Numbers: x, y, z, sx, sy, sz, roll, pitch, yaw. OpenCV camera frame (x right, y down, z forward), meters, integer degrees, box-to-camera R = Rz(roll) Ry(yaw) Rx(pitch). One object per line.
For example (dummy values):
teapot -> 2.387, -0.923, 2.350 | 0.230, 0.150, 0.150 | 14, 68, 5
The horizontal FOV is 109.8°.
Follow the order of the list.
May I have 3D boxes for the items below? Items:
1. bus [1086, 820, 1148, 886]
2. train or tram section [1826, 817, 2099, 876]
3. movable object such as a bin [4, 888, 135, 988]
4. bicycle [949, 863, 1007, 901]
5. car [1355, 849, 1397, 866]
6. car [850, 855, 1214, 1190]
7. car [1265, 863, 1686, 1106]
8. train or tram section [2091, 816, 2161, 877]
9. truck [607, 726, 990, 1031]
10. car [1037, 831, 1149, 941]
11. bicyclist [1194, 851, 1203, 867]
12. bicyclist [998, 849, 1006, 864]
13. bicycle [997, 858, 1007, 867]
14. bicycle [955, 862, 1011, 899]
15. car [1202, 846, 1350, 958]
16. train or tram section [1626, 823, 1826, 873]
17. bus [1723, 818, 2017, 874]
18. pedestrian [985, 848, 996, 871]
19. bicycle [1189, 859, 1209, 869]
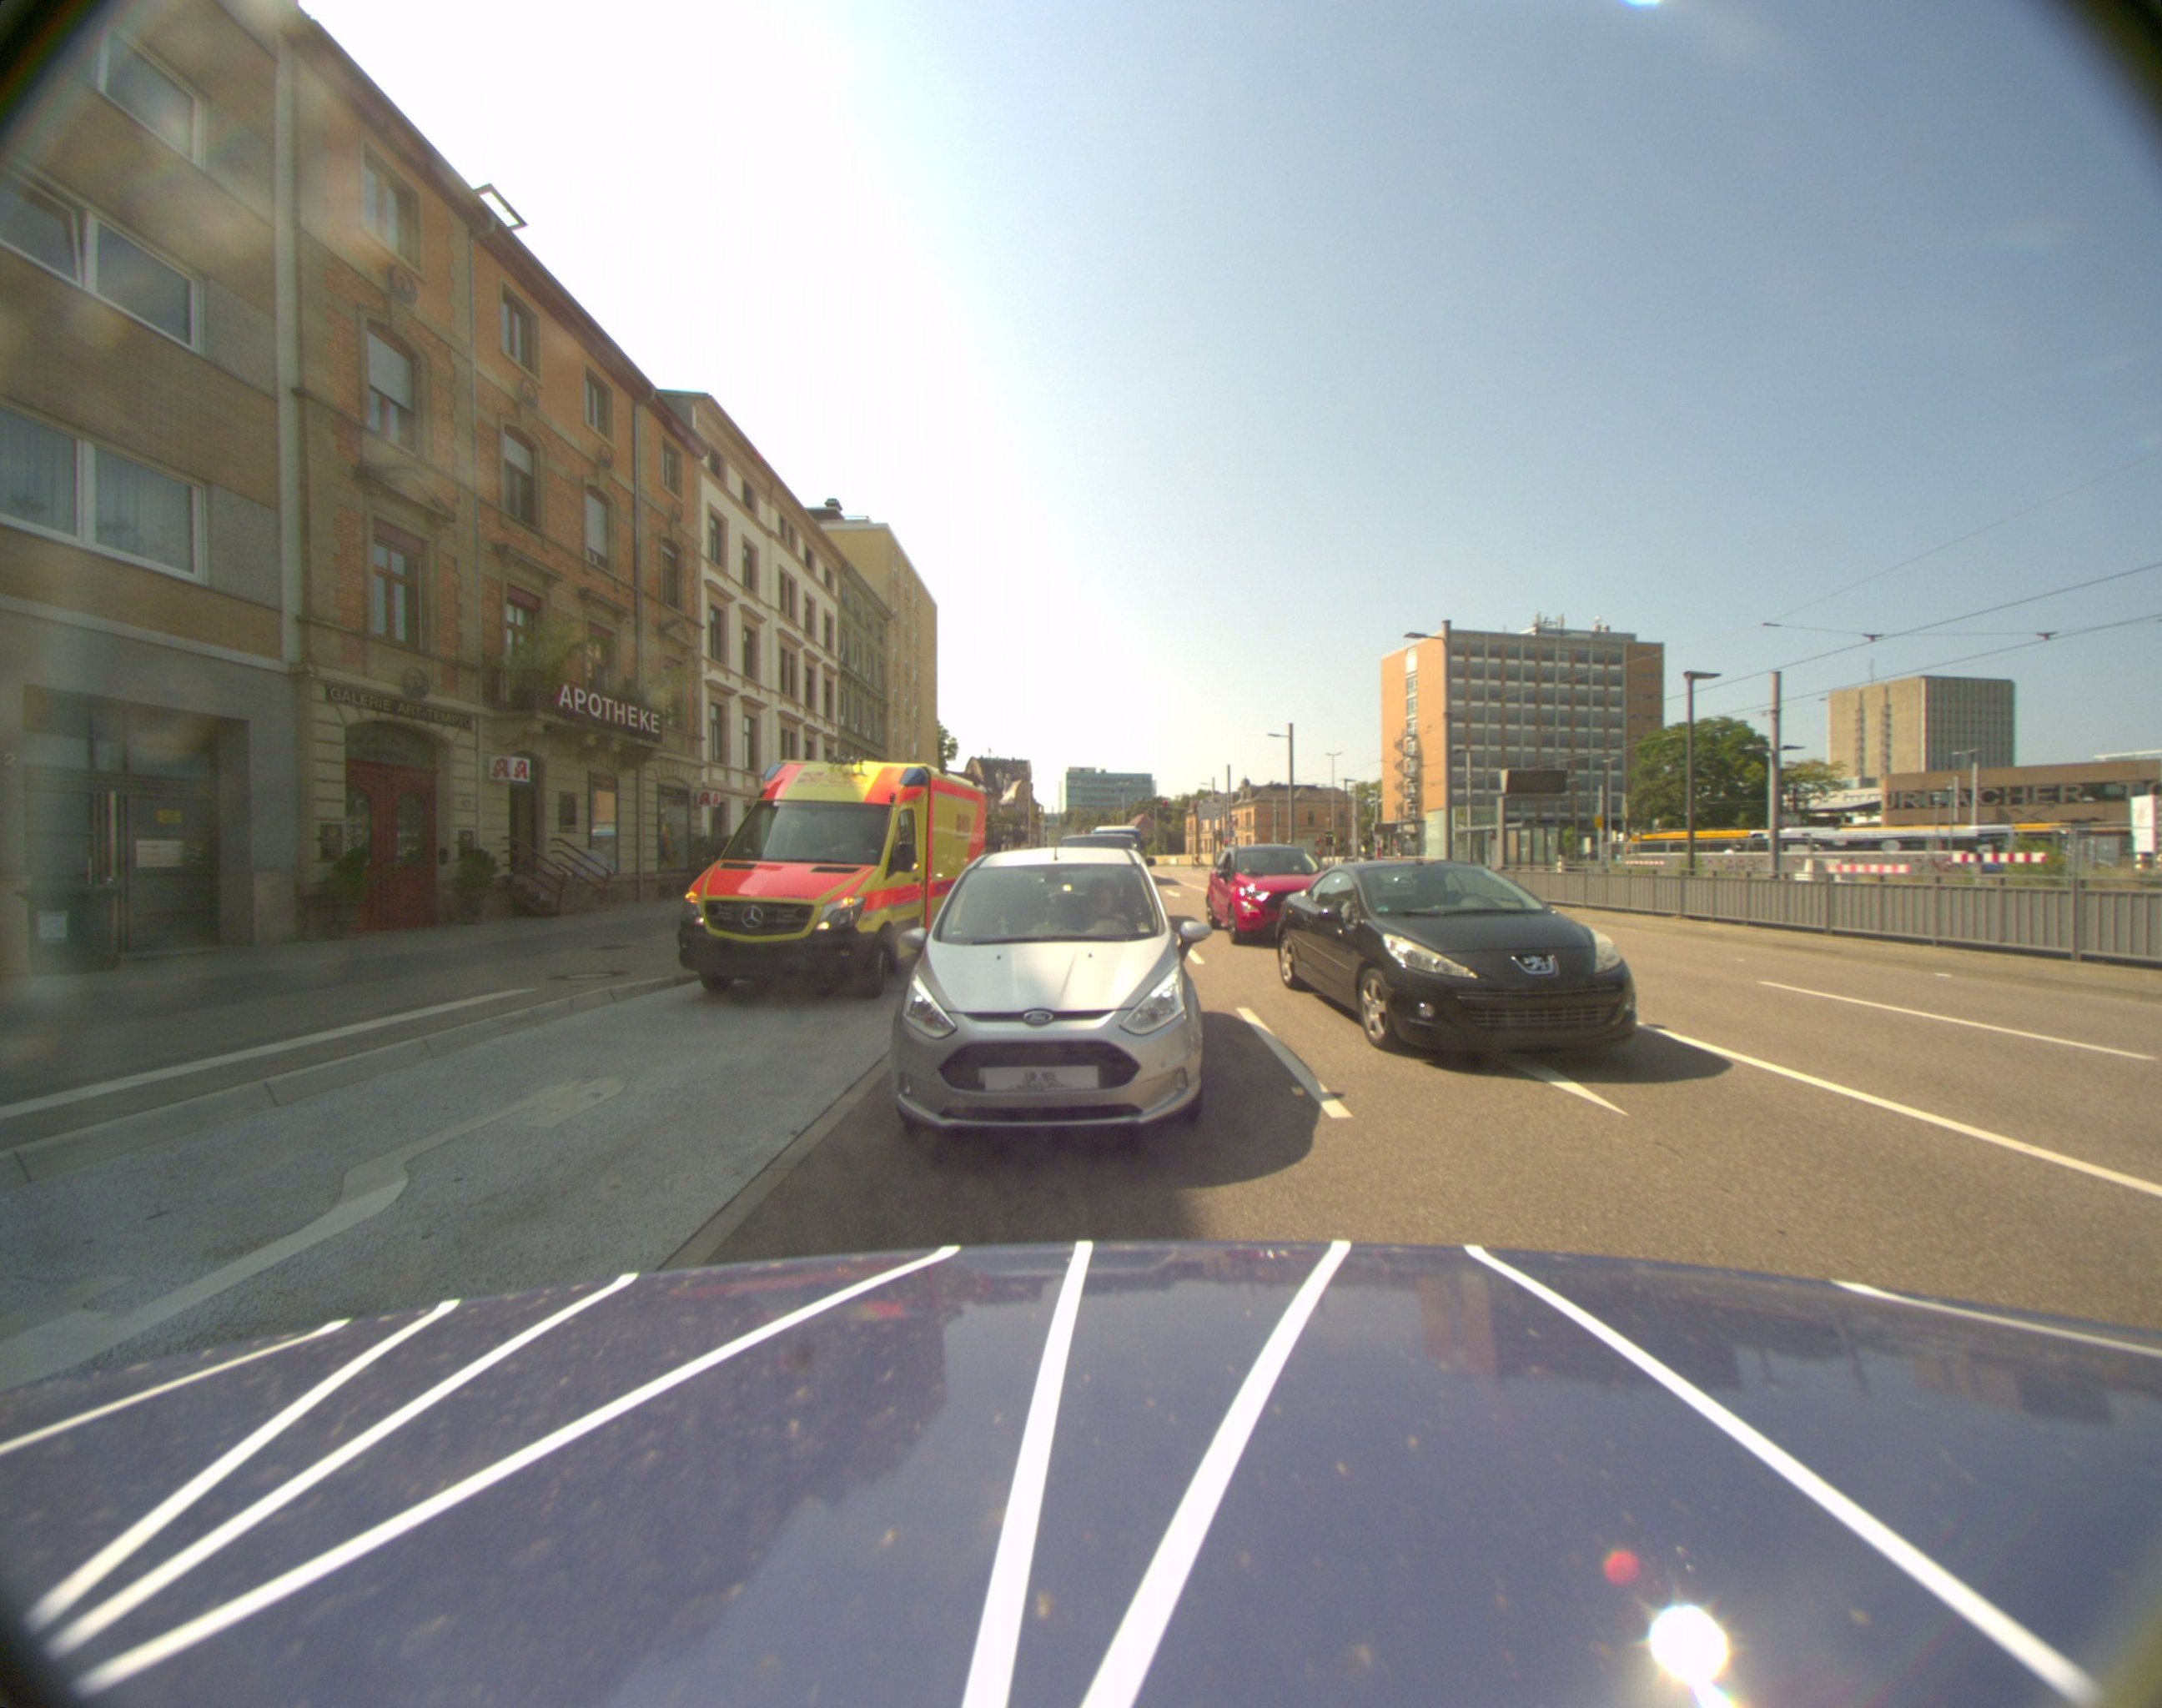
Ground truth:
bus -> 2.189, -0.070, 43.702 | 2.919, 3.119, 12.347 | -2, 0, 4
train or tram section -> 60.770, -0.449, 53.153 | 2.004, 3.743, 12.331 | -1, 0, -45
movable object such as a bin -> -11.974, 0.963, 9.025 | 0.648, 1.098, 0.727 | 1, 0, -24
bicycle -> -3.428, 0.922, 25.323 | 1.841, 1.196, 0.434 | -2, 1, 1
car -> 33.546, 0.417, 86.438 | 4.279, 1.722, 1.885 | -2, 0, 16
car -> -0.189, 0.825, 5.674 | 1.728, 1.579, 4.000 | -1, 0, 1
car -> 2.907, 0.834, 6.609 | 1.692, 1.405, 3.801 | -2, 0, 1
train or tram section -> 69.458, -0.485, 44.429 | 2.004, 3.743, 12.331 | -1, 0, -45
truck -> -3.027, 0.196, 10.218 | 2.333, 2.754, 6.340 | 2, 1, 4
car -> 0.274, 0.571, 16.258 | 1.998, 1.953, 4.816 | -1, 0, 1
bicyclist -> 13.675, 0.580, 88.220 | 0.857, 1.891, 0.664 | -2, 1, 21
bicyclist -> -8.119, 0.236, 78.305 | 0.721, 1.577, 1.103 | -1, 0, 2
bicycle -> -8.108, 0.858, 78.318 | 0.721, 0.948, 2.001 | -1, 0, 2
bicycle -> -3.387, 0.923, 26.221 | 1.841, 1.212, 0.434 | -2, 1, 1
car -> 3.185, 0.697, 13.171 | 1.634, 1.611, 3.968 | -2, 0, 2
train or tram section -> 52.060, -0.432, 61.896 | 2.004, 3.743, 12.331 | -1, 0, -45
bus -> 52.349, -0.422, 51.322 | 3.357, 3.275, 13.371 | -3, 0, -45
pedestrian -> -6.347, 0.387, 53.285 | 0.645, 1.619, 0.796 | 1, 1, 0
bicycle -> 13.657, 1.189, 88.236 | 2.182, 1.095, 0.664 | -2, 1, 21
